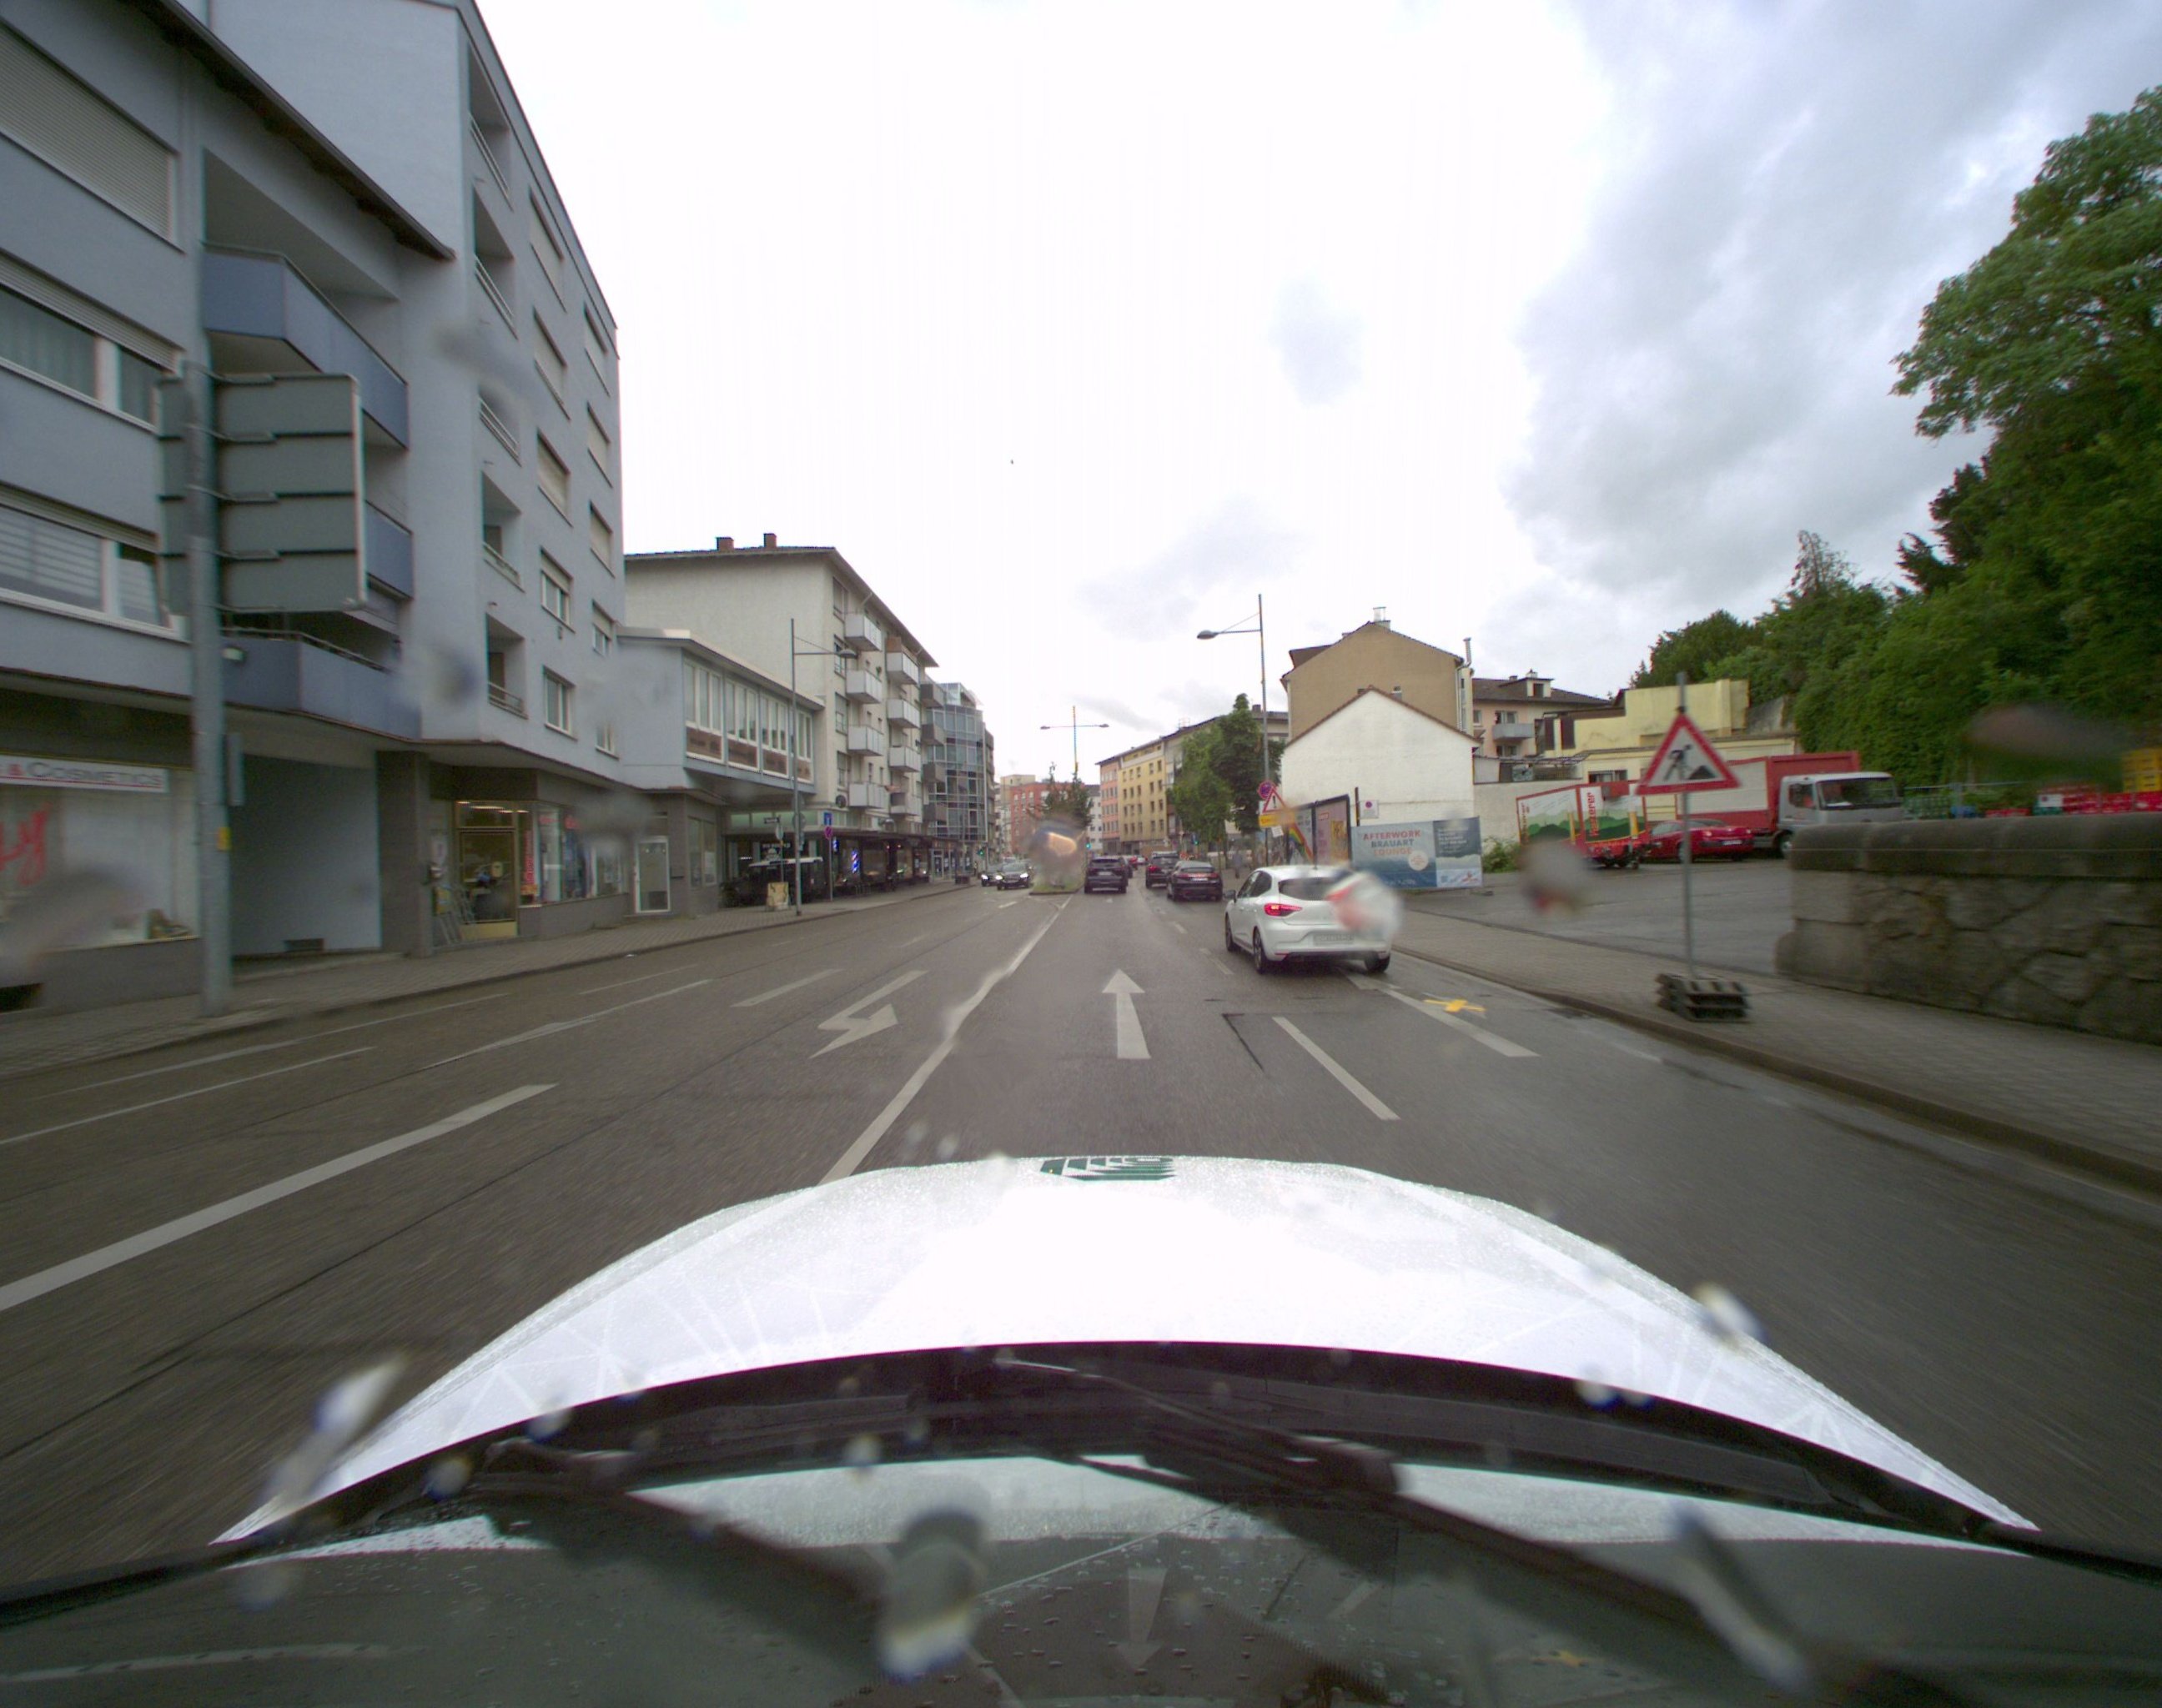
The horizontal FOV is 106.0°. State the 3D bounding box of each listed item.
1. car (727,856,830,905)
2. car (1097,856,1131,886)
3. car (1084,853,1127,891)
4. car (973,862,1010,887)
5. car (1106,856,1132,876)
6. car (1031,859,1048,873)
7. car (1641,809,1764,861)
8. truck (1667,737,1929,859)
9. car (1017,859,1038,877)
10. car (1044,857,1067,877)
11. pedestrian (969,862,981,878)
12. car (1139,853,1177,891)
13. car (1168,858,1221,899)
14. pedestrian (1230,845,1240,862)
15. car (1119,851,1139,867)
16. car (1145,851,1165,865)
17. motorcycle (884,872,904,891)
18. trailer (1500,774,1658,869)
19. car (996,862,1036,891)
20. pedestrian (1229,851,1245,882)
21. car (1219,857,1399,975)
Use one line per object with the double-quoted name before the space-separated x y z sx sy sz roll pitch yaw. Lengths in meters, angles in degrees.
"car" -13.442 1.179 36.298 3.946 2.034 1.582 -2 -1 3
"car" 1.840 0.919 45.151 1.816 1.600 3.721 0 0 3
"car" 1.126 0.782 36.382 1.816 1.600 3.721 0 0 3
"car" -6.116 1.381 55.877 1.701 1.468 4.832 -4 -1 2
"car" 2.711 0.853 58.621 1.635 1.381 3.348 -3 -1 1
"car" -4.645 1.312 91.298 1.626 1.408 3.438 -4 -1 2
"car" 19.574 -0.561 25.825 1.582 1.456 3.270 -3 -1 6
"truck" 22.289 -1.530 25.977 2.618 3.216 6.941 -3 -1 6
"car" -5.237 1.369 80.283 1.626 1.591 3.938 -4 -1 2
"car" -2.247 1.137 72.305 1.677 1.661 4.098 -4 -1 2
"pedestrian" -10.323 1.563 79.343 0.786 1.591 0.755 -2 -1 -35
"car" 3.857 0.846 41.329 1.822 1.805 3.722 0 1 4
"car" 4.137 0.861 30.043 1.778 1.400 3.724 -1 0 6
"pedestrian" 17.883 -0.056 94.468 0.823 2.013 0.835 1 0 -17
"car" 4.472 0.447 76.363 1.635 1.381 3.348 -3 -1 1
"car" 8.224 0.424 90.865 1.703 1.611 3.725 1 0 -2
"motorcycle" -10.611 1.550 46.252 0.523 0.995 2.138 0 0 3
"trailer" 16.358 -0.998 27.202 2.117 2.716 5.397 -4 0 4
"car" -3.674 1.241 46.496 1.714 1.423 4.167 -4 -1 2
"pedestrian" 9.075 0.739 47.404 0.785 1.755 0.875 -3 -1 15
"car" 3.164 0.777 12.052 1.659 1.396 3.868 0 1 1
